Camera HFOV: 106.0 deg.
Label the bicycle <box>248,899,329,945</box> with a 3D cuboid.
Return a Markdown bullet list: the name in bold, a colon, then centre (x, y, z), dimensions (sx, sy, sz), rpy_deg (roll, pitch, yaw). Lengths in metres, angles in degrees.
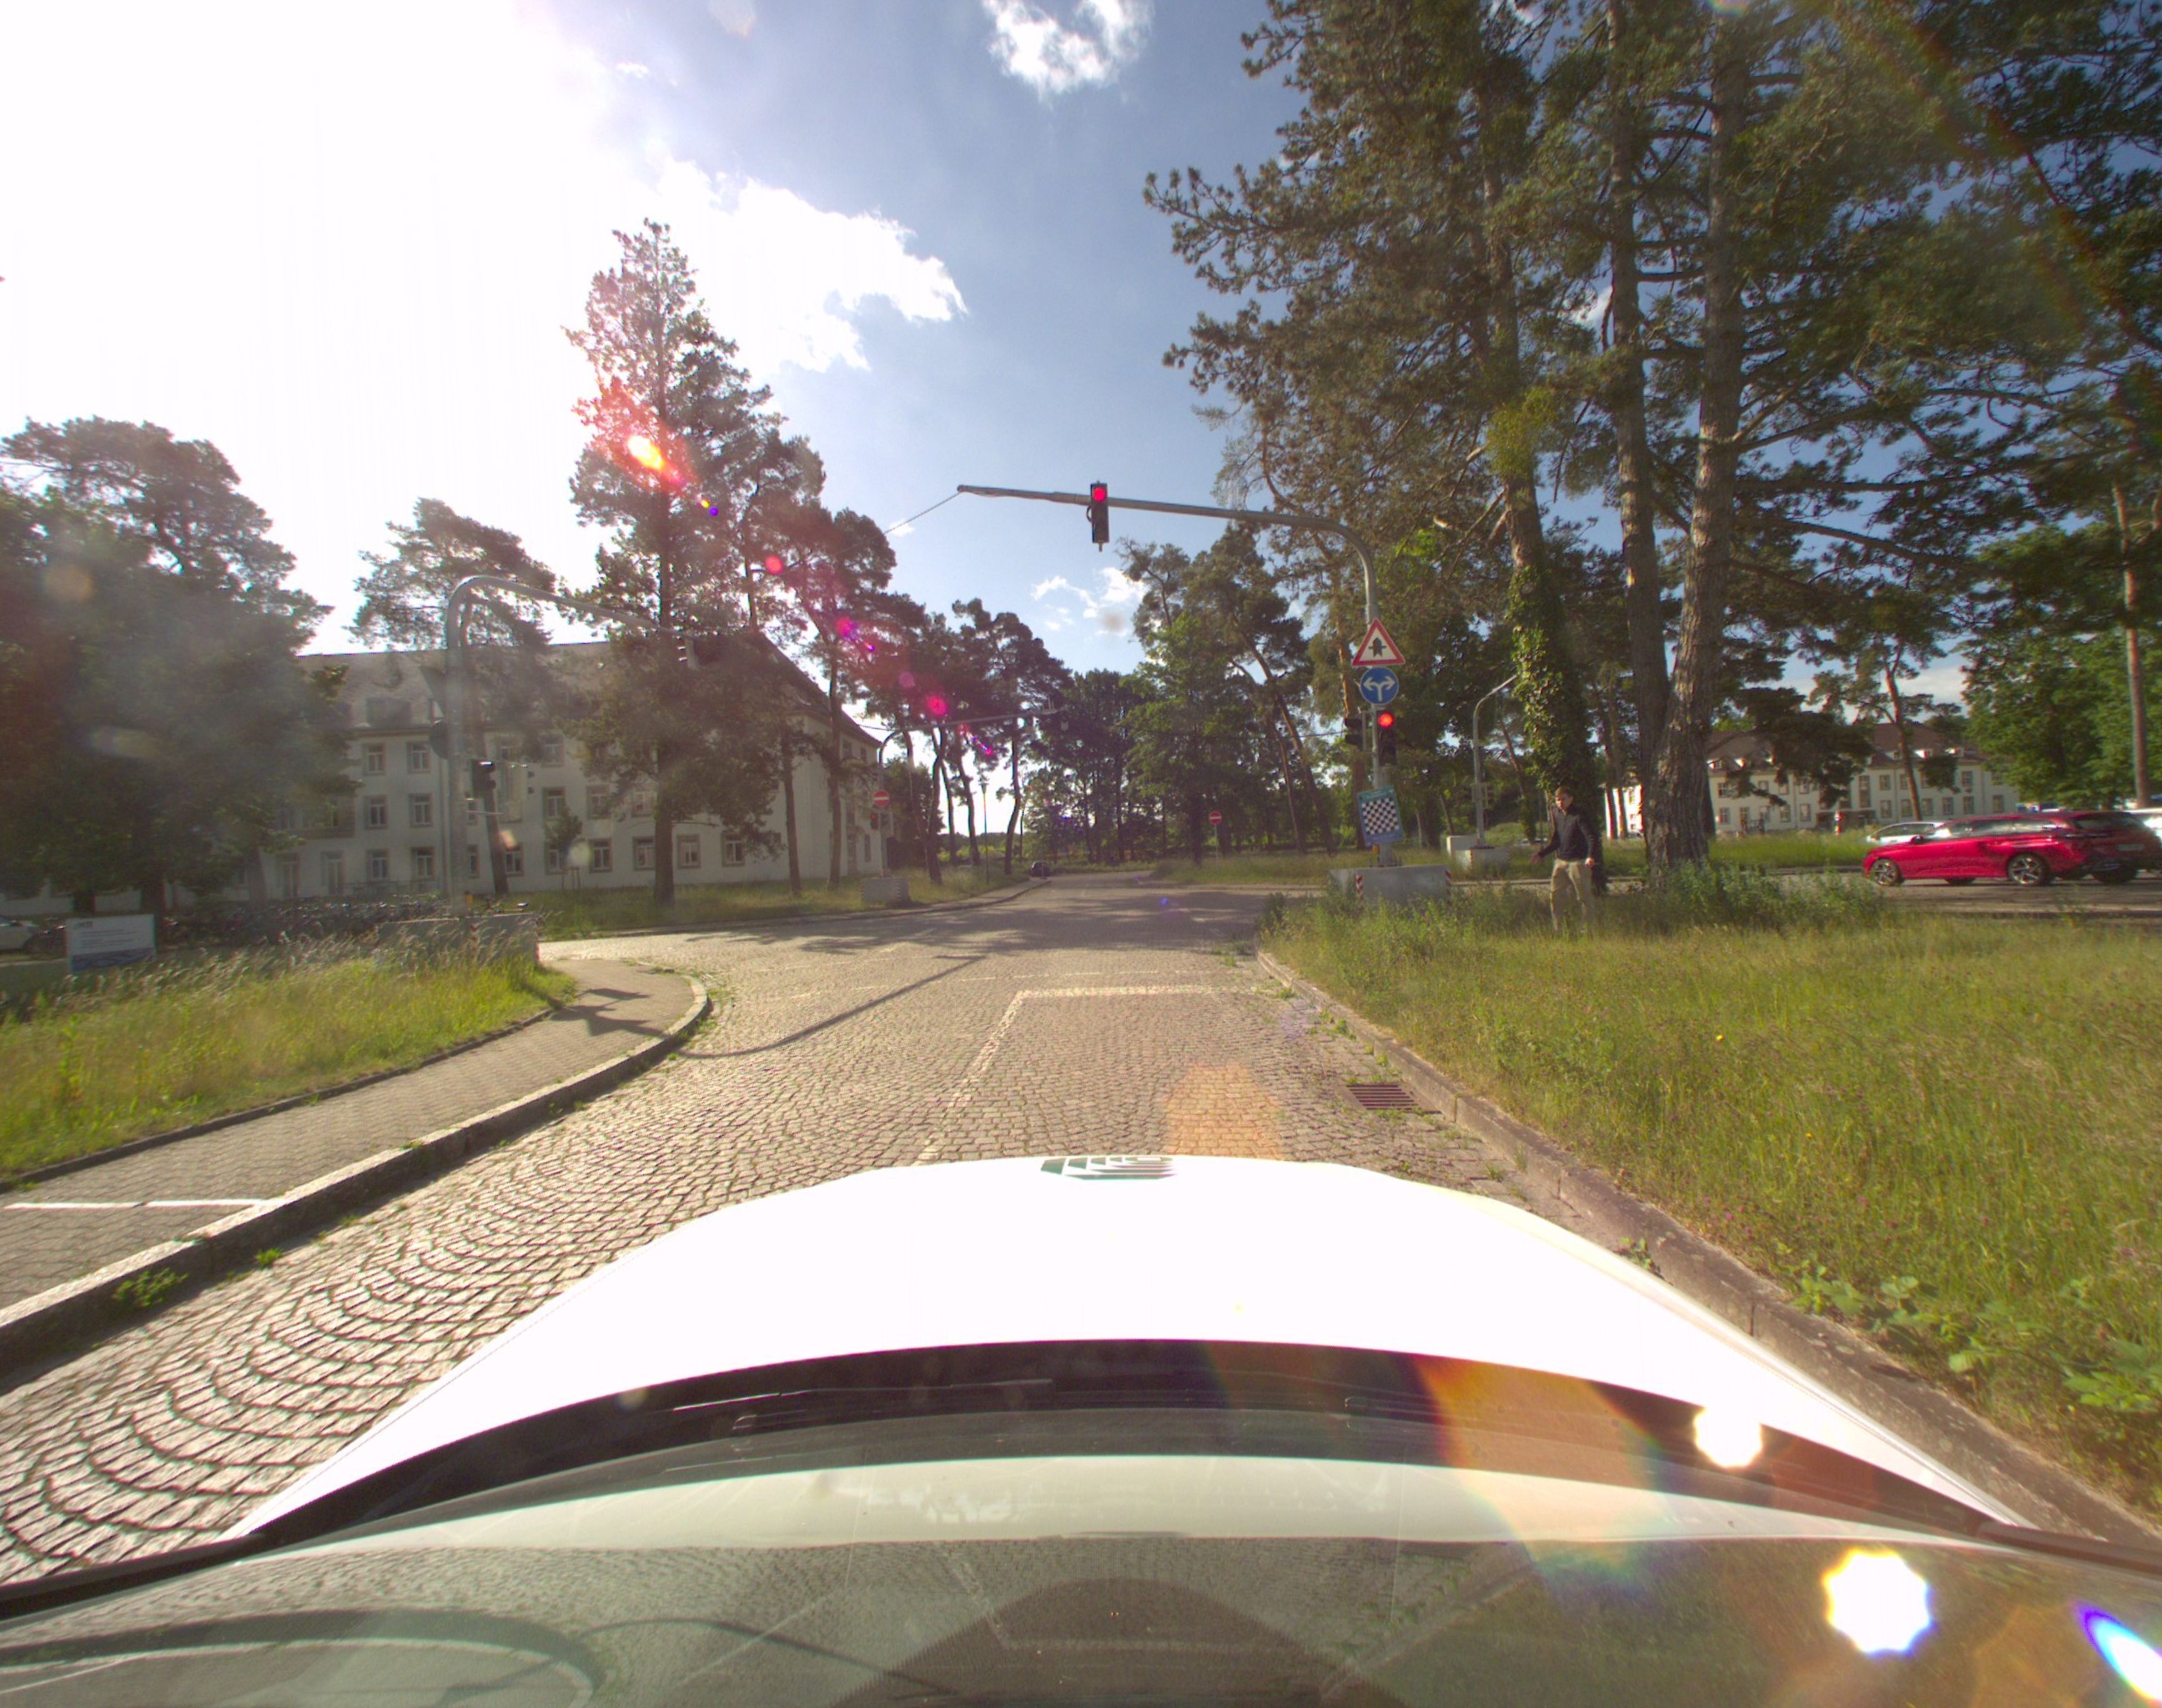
- **bicycle**: centre (-24.105, 2.058, 24.820), dimensions (0.512, 1.220, 1.937), rpy_deg (-3, 0, 1)

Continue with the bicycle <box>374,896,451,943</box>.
- **bicycle**: centre (-20.230, 1.954, 24.714), dimensions (0.576, 1.220, 2.029), rpy_deg (-3, 0, 1)

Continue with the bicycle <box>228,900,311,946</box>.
- **bicycle**: centre (-24.697, 2.075, 24.840), dimensions (0.512, 1.220, 1.937), rpy_deg (-3, 0, 1)

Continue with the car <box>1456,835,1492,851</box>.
- **car**: centre (41.451, -1.154, 86.019), dimensions (1.820, 1.582, 4.163), rpy_deg (-3, 0, 1)

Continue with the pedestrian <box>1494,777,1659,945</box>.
- **pedestrian**: centre (5.729, 0.070, 9.485), dimensions (1.062, 1.796, 1.165), rpy_deg (-3, 0, -18)

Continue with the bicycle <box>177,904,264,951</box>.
- **bicycle**: centre (-26.196, 2.210, 24.835), dimensions (0.512, 1.220, 1.937), rpy_deg (-3, 0, 1)

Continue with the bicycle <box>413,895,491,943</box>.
- **bicycle**: centre (-18.637, 1.904, 24.193), dimensions (0.631, 1.220, 2.104), rpy_deg (-3, 0, 1)

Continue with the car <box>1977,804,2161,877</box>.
- **car**: centre (21.670, -0.283, 16.719), dimensions (1.773, 1.379, 4.239), rpy_deg (-3, -2, 0)

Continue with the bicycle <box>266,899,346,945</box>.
- **bicycle**: centre (-23.559, 2.042, 24.796), dimensions (0.512, 1.220, 1.937), rpy_deg (-3, 0, 1)

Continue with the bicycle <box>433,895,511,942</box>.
- **bicycle**: centre (-18.033, 1.887, 24.184), dimensions (0.631, 1.220, 2.124), rpy_deg (-3, 0, 1)

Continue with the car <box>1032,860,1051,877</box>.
- **car**: centre (-3.920, 1.423, 80.661), dimensions (1.705, 1.496, 3.917), rpy_deg (-3, 0, -1)

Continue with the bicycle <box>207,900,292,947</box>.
- **bicycle**: centre (-25.307, 2.093, 24.830), dimensions (0.512, 1.220, 1.937), rpy_deg (-3, 0, 1)

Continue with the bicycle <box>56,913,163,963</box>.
- **bicycle**: centre (-27.612, 2.361, 23.185), dimensions (1.837, 1.220, 0.510), rpy_deg (-3, 0, -35)

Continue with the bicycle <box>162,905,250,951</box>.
- **bicycle**: centre (-26.644, 2.223, 24.844), dimensions (0.512, 1.220, 1.937), rpy_deg (-3, 0, 1)

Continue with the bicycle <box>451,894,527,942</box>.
- **bicycle**: centre (-17.550, 1.872, 24.191), dimensions (0.631, 1.220, 2.114), rpy_deg (-3, 0, 1)

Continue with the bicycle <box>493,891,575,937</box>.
- **bicycle**: centre (-16.192, 1.767, 24.142), dimensions (1.938, 1.220, 0.635), rpy_deg (-3, 0, 0)

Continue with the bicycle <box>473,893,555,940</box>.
- **bicycle**: centre (-16.308, 1.789, 23.428), dimensions (1.855, 1.220, 0.635), rpy_deg (-3, 0, 0)

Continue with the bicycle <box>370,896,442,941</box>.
- **bicycle**: centre (-20.795, 1.970, 25.137), dimensions (0.546, 1.220, 1.900), rpy_deg (-3, 0, 1)

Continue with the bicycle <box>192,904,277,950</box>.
- **bicycle**: centre (-25.767, 2.198, 24.834), dimensions (0.512, 1.220, 1.937), rpy_deg (-3, 0, 1)

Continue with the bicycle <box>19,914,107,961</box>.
- **bicycle**: centre (-30.449, 2.471, 24.405), dimensions (0.514, 1.220, 1.823), rpy_deg (-3, 0, -9)

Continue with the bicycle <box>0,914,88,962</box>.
- **bicycle**: centre (-31.055, 2.489, 24.390), dimensions (0.513, 1.220, 1.824), rpy_deg (-3, 0, -7)

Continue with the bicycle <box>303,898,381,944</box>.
- **bicycle**: centre (-22.479, 2.014, 24.815), dimensions (0.512, 1.220, 1.977), rpy_deg (-3, 0, 1)

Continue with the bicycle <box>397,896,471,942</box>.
- **bicycle**: centre (-19.485, 1.930, 24.581), dimensions (0.570, 1.220, 1.990), rpy_deg (-3, 0, 1)

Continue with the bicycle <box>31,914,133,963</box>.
- **bicycle**: centre (-29.111, 2.440, 23.754), dimensions (0.509, 1.220, 1.841), rpy_deg (-3, 0, 38)

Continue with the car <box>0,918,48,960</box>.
- **car**: centre (-34.075, 2.708, 24.408), dimensions (1.504, 1.211, 3.596), rpy_deg (-3, 0, 3)

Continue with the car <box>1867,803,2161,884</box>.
- **car**: centre (18.795, -0.152, 16.551), dimensions (1.649, 1.399, 4.130), rpy_deg (-2, -1, 1)

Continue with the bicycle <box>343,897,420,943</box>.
- **bicycle**: centre (-21.313, 1.984, 24.864), dimensions (0.512, 1.220, 2.016), rpy_deg (-3, 0, 1)

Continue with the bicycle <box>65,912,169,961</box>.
- **bicycle**: centre (-28.001, 2.368, 23.694), dimensions (1.837, 1.220, 0.510), rpy_deg (-3, 0, -35)

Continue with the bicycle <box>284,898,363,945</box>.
- **bicycle**: centre (-23.005, 2.026, 24.783), dimensions (0.512, 1.220, 1.954), rpy_deg (-3, 0, 1)

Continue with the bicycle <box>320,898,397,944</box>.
- **bicycle**: centre (-21.961, 2.003, 24.819), dimensions (0.512, 1.220, 1.977), rpy_deg (-3, 0, 1)
